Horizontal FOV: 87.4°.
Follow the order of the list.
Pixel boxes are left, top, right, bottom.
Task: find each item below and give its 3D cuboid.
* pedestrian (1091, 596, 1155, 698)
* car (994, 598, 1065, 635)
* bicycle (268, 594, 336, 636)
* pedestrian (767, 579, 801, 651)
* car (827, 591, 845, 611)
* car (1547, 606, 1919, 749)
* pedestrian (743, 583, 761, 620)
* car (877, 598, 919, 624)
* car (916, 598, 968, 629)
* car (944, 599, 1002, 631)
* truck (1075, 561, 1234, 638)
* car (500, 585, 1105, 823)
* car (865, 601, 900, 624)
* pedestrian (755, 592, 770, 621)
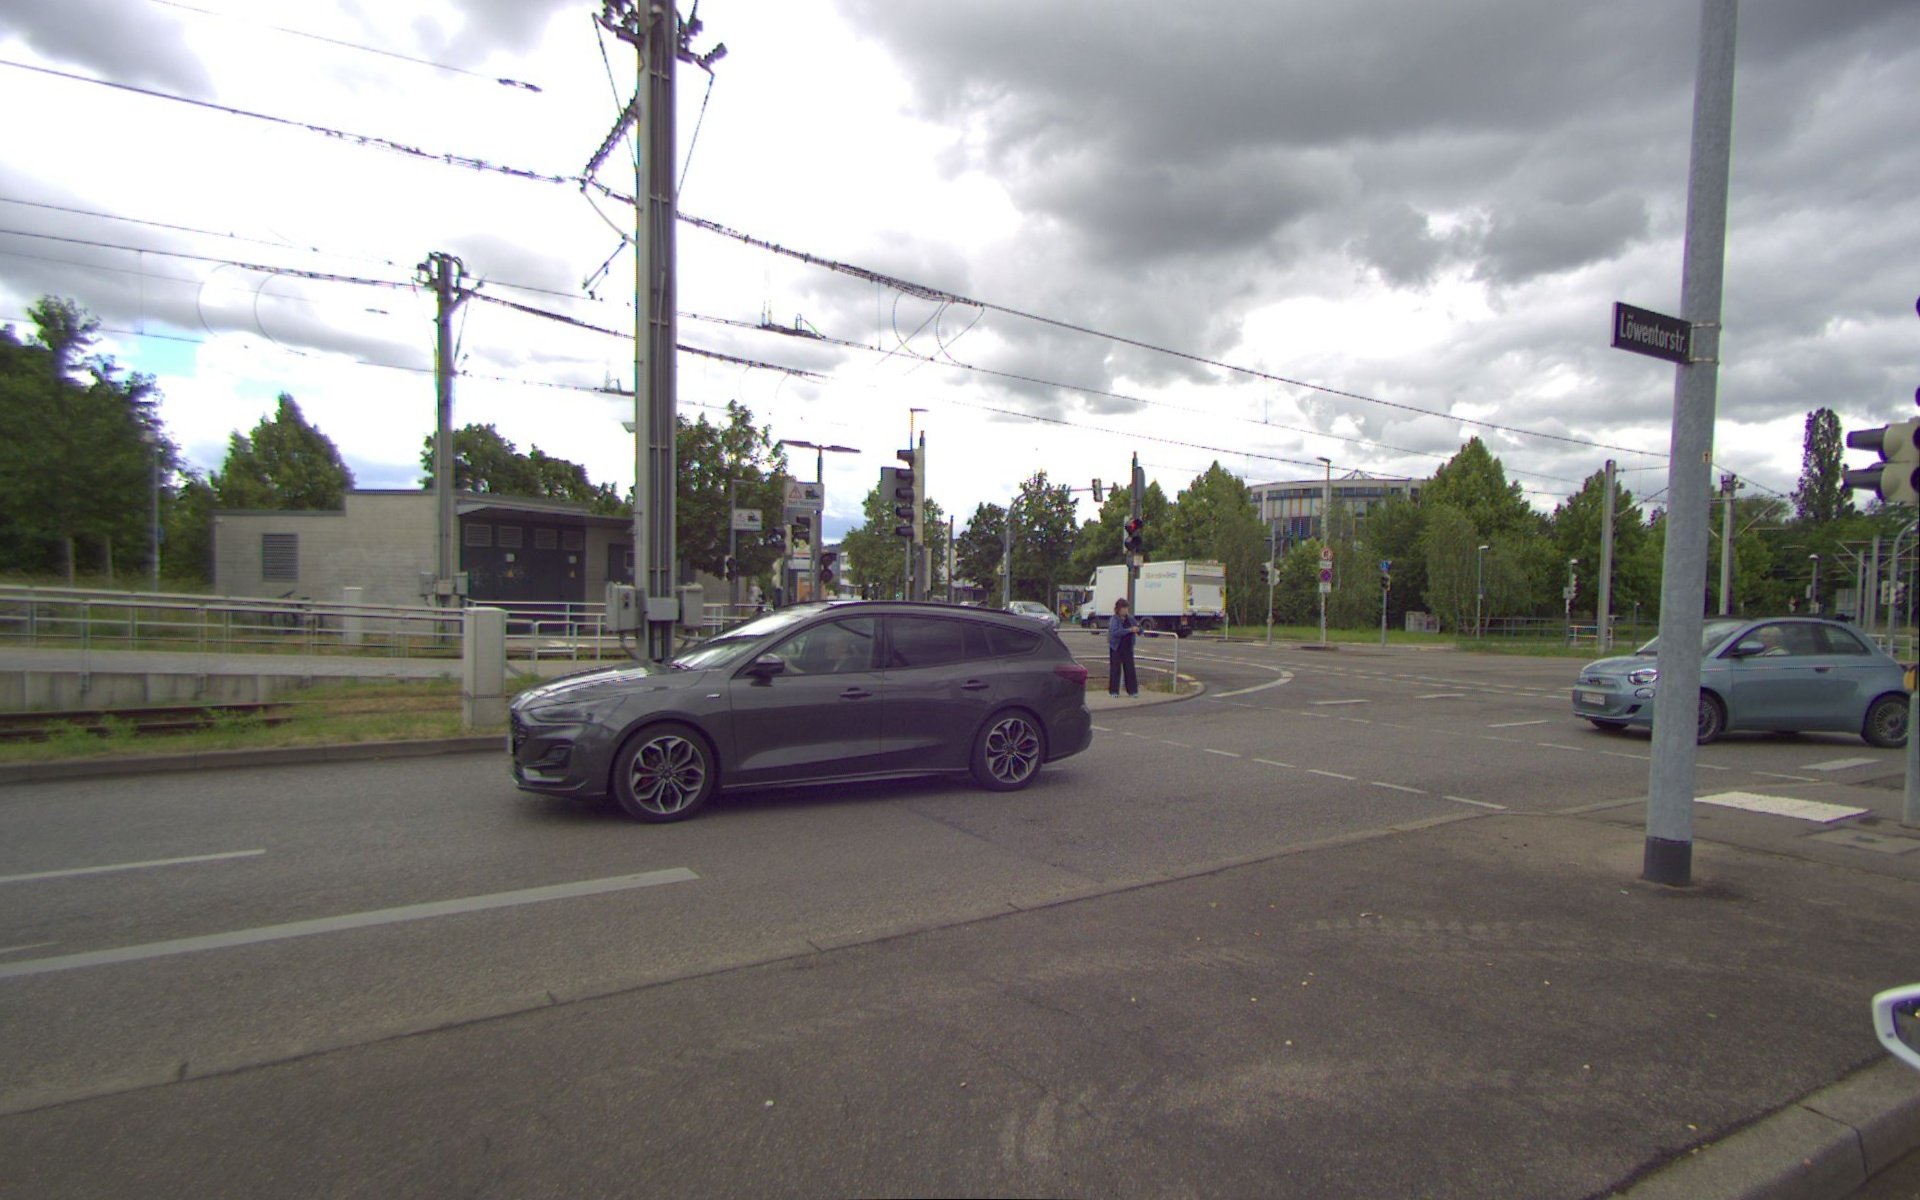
[{"bbox_3d":[2.576,0.727,15.885,0.712,1.557,0.630,2,0,-33],"label":"pedestrian"},{"bbox_3d":[3.189,0.731,46.894,1.848,1.617,3.982,2,0,-20],"label":"car"},{"bbox_3d":[-17.417,0.389,26.582,1.778,1.045,0.536,2,0,21],"label":"bicycle"},{"bbox_3d":[-4.383,0.377,25.035,0.700,1.751,0.674,2,0,-19],"label":"pedestrian"},{"bbox_3d":[-14.623,0.099,118.102,1.964,2.218,5.800,1,0,-9],"label":"car"},{"bbox_3d":[9.634,0.906,12.544,3.529,1.548,1.762,2,0,1],"label":"car"},{"bbox_3d":[-8.930,0.056,43.154,0.633,1.557,0.521,2,0,-2],"label":"pedestrian"},{"bbox_3d":[-4.253,0.709,67.996,1.776,1.617,3.982,2,0,-20],"label":"car"},{"bbox_3d":[-1.072,0.758,58.034,1.776,1.617,3.982,2,0,-20],"label":"car"},{"bbox_3d":[0.659,0.791,53.860,1.776,1.617,3.982,2,0,-20],"label":"car"},{"bbox_3d":[9.704,-0.061,51.449,2.977,3.580,9.219,1,0,-27],"label":"truck"},{"bbox_3d":[-1.169,0.686,7.997,4.380,1.443,1.862,2,0,-30],"label":"car"},{"bbox_3d":[-5.803,0.922,75.010,1.775,1.617,3.985,2,0,-17],"label":"car"},{"bbox_3d":[-9.596,0.299,48.700,0.593,1.377,0.614,2,0,-19],"label":"pedestrian"}]
